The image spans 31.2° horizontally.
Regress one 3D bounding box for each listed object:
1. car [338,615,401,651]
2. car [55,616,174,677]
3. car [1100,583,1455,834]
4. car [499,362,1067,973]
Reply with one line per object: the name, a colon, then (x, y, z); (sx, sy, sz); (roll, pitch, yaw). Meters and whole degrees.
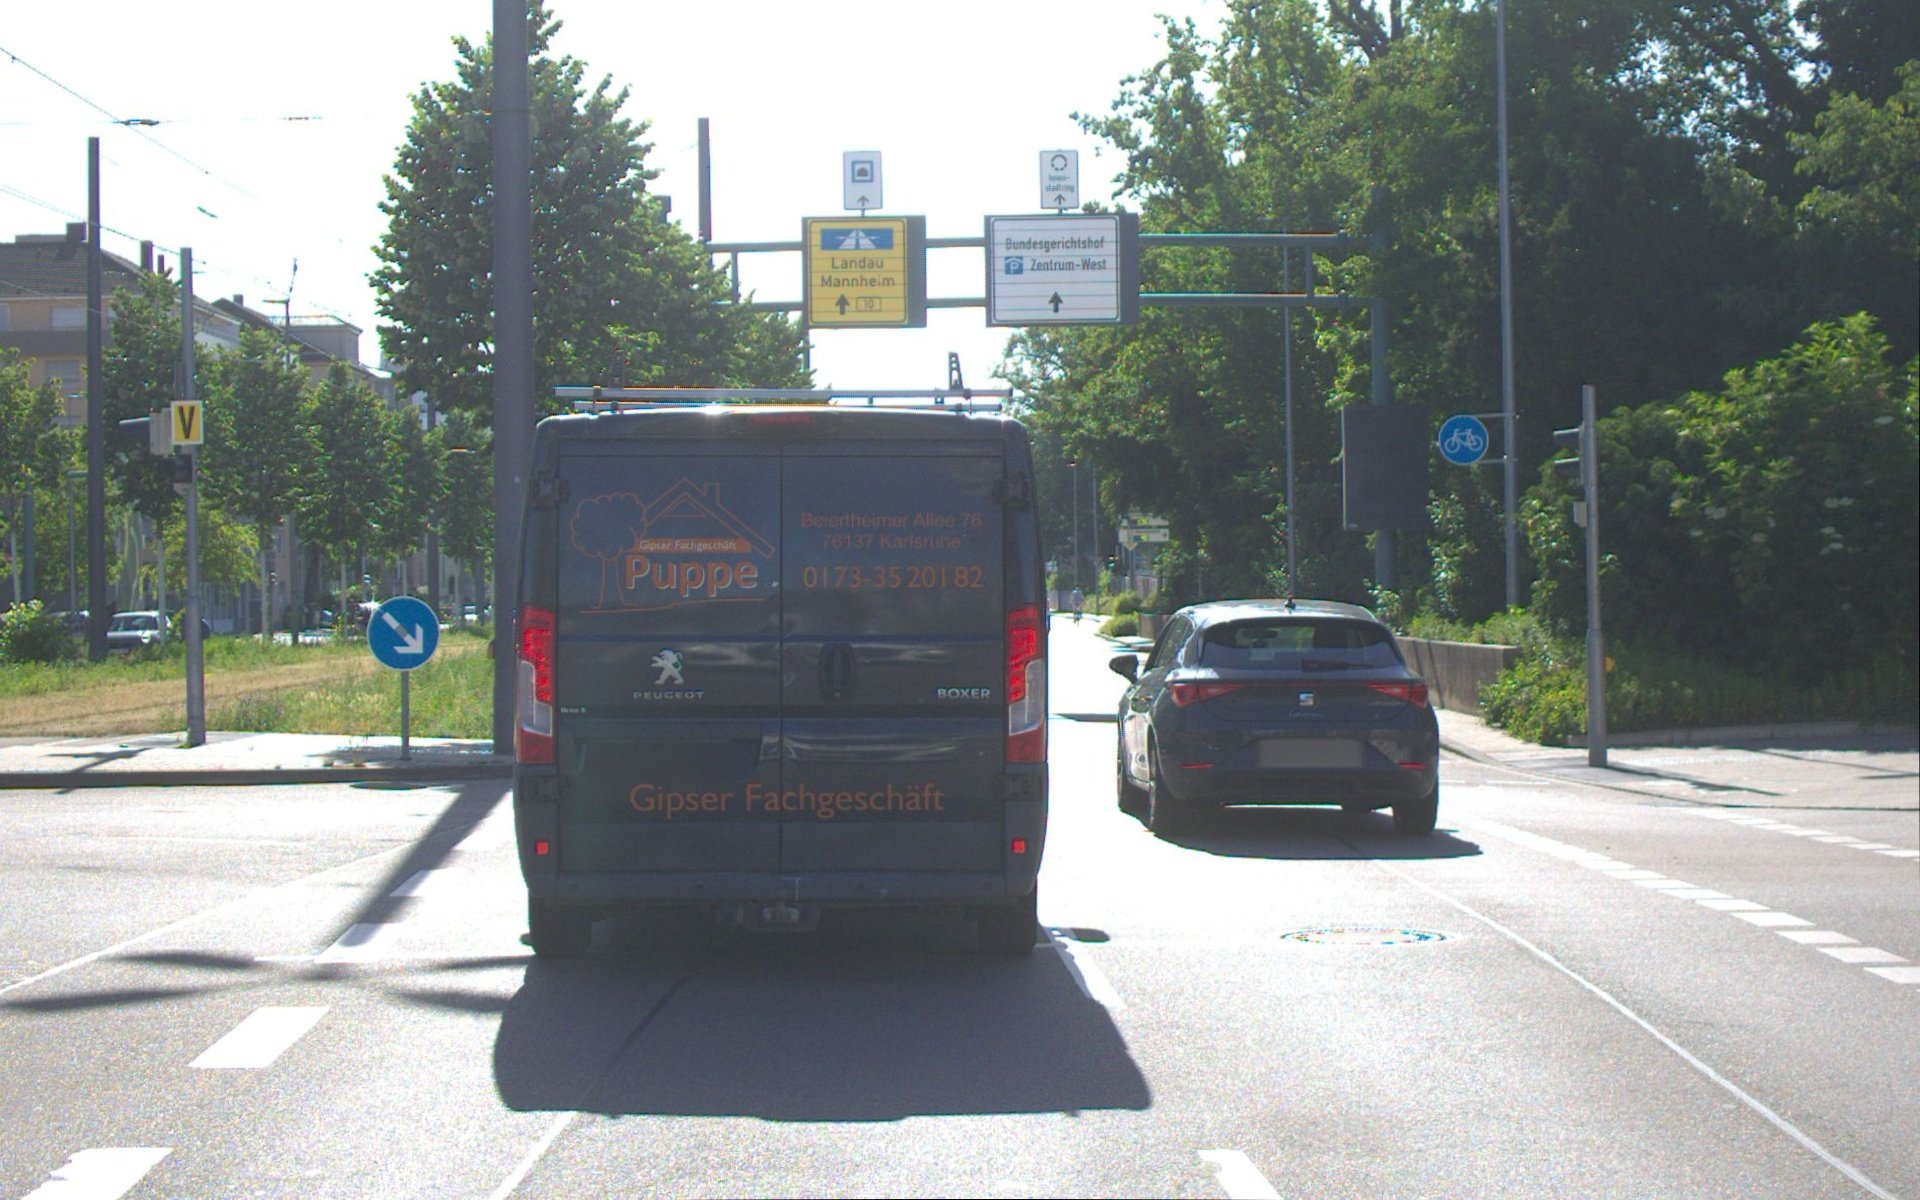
car: (-25.836, 1.442, 150.522); (1.993, 1.547, 4.000); (0, 0, 1)
car: (-21.900, 1.186, 89.152); (1.993, 1.547, 4.000); (0, 0, 2)
car: (1.942, 0.644, 22.120); (1.763, 1.457, 4.000); (0, 0, -2)
car: (-0.681, 0.257, 14.704); (2.082, 2.241, 4.000); (0, 0, -1)
